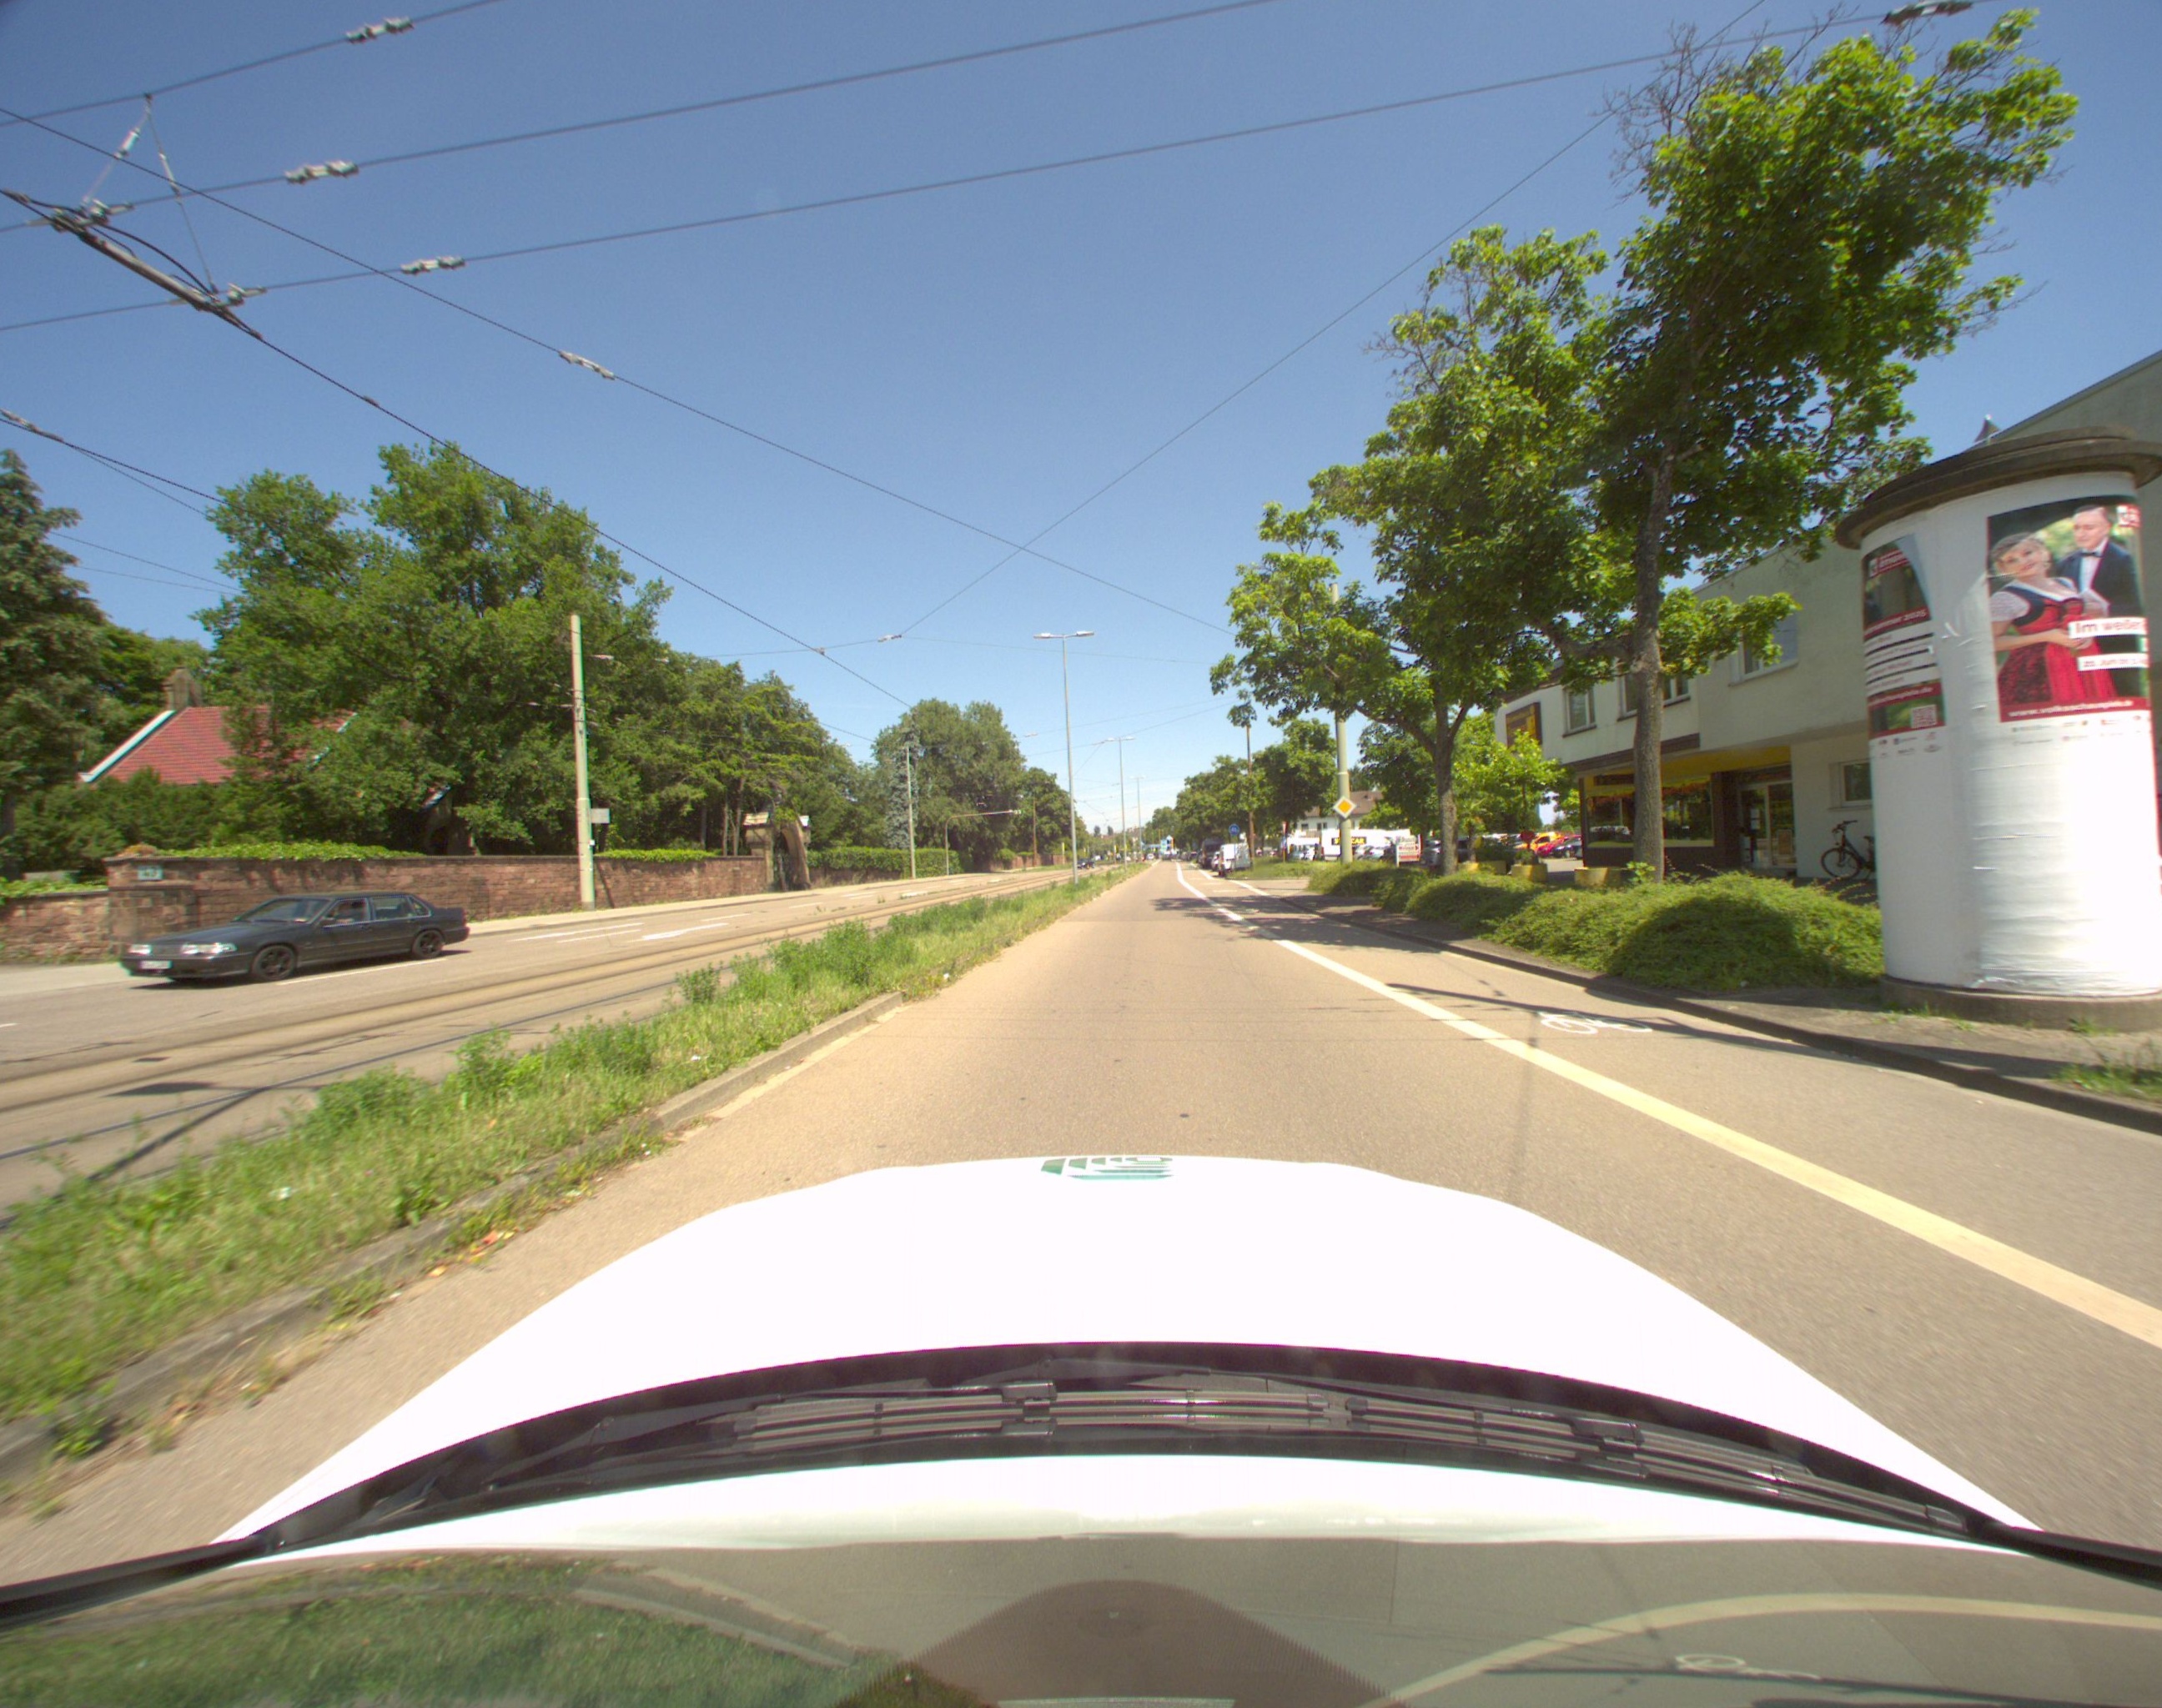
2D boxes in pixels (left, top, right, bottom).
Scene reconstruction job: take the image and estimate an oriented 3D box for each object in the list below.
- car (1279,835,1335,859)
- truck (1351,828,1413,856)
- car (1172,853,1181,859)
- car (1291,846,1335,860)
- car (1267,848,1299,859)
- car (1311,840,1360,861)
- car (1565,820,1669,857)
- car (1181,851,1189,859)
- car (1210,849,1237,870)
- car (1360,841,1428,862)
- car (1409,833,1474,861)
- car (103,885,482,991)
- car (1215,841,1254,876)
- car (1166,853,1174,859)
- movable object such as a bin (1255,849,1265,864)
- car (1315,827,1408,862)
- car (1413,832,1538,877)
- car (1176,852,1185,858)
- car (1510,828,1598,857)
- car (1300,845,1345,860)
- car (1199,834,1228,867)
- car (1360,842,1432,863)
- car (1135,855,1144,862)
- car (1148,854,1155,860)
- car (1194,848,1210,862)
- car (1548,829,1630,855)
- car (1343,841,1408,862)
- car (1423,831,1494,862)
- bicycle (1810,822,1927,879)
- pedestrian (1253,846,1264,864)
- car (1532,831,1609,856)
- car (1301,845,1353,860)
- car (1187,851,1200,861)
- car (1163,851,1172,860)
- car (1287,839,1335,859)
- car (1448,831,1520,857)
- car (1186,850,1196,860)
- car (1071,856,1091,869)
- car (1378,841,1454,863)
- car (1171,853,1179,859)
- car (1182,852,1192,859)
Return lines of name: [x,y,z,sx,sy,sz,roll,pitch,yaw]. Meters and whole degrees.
car: [23.779,-0.767,85.934,5.461,2.459,2.099,0,0,6]
truck: [38.720,-1.474,104.979,6.914,3.085,2.428,-4,-1,5]
car: [27.546,0.454,234.214,1.703,1.562,4.318,-5,0,-3]
car: [22.830,-0.107,80.084,3.872,1.406,1.728,0,0,1]
car: [25.931,-0.050,104.467,3.840,1.358,1.773,0,0,6]
car: [22.503,-0.321,72.012,3.765,1.784,1.955,0,0,1]
car: [32.665,-0.929,49.747,4.893,1.900,1.911,-4,-1,5]
car: [26.305,0.289,206.126,1.831,1.694,4.787,-5,0,6]
car: [10.775,0.383,61.869,1.713,1.428,4.217,-5,-1,6]
car: [20.522,-0.177,53.539,3.868,1.325,1.730,0,0,5]
car: [36.013,-0.704,81.409,5.462,2.459,2.099,-4,-1,6]
car: [-14.140,1.389,15.187,1.831,1.416,5.042,0,0,6]
car: [9.389,0.263,50.174,1.869,1.916,5.134,-5,0,7]
car: [27.298,0.536,250.223,1.752,1.630,4.319,-5,0,-3]
movable object such as a bin: [17.044,0.234,77.672,0.788,1.352,0.890,-2,0,6]
car: [21.122,-0.687,61.566,6.304,2.529,2.269,0,0,8]
car: [15.934,0.028,33.082,4.122,1.611,1.946,-2,0,2]
car: [27.250,0.407,222.994,1.700,1.492,5.041,-5,0,2]
car: [34.774,-0.800,59.975,5.127,1.752,2.099,-4,-1,6]
car: [23.027,-0.135,77.729,3.869,1.406,1.729,0,0,3]
car: [11.833,-0.315,73.110,1.988,2.636,6.088,-5,0,6]
car: [19.749,-0.087,51.165,3.868,1.325,1.730,0,0,5]
car: [12.290,0.984,169.719,1.698,1.414,4.288,-2,0,5]
car: [22.377,0.930,259.126,1.986,2.014,4.001,0,-1,1]
car: [16.172,0.133,109.159,1.704,1.632,4.716,-5,-1,6]
car: [34.036,-0.776,54.637,4.288,1.436,1.635,-4,-1,6]
car: [20.214,-0.188,56.043,3.873,1.380,1.727,0,0,0]
car: [34.940,-0.652,75.508,5.462,2.459,2.099,-4,-1,6]
bicycle: [15.949,-0.071,16.561,0.540,1.068,1.902,-3,0,2]
pedestrian: [17.131,0.086,78.600,0.801,1.625,0.945,-2,0,6]
car: [34.397,-0.743,57.305,4.288,1.436,1.635,-4,-1,6]
car: [22.601,-0.148,74.893,4.258,1.406,1.729,0,0,3]
car: [19.413,0.360,140.684,1.832,1.436,4.830,-5,0,4]
car: [17.709,0.235,166.418,1.747,1.630,4.331,-5,0,6]
car: [23.401,-0.499,82.956,4.389,1.909,1.955,0,0,1]
car: [34.781,-0.858,70.396,5.070,1.876,2.099,-4,-1,6]
car: [21.313,0.189,158.215,1.831,1.706,4.636,-5,0,7]
car: [0.032,0.981,97.671,1.746,1.448,4.132,-1,0,8]
car: [19.820,-0.131,48.305,3.868,1.281,1.730,0,0,5]
car: [27.642,0.491,240.156,1.702,1.562,4.320,-5,0,-2]
car: [24.111,0.379,185.018,1.833,1.529,4.970,-5,0,3]
